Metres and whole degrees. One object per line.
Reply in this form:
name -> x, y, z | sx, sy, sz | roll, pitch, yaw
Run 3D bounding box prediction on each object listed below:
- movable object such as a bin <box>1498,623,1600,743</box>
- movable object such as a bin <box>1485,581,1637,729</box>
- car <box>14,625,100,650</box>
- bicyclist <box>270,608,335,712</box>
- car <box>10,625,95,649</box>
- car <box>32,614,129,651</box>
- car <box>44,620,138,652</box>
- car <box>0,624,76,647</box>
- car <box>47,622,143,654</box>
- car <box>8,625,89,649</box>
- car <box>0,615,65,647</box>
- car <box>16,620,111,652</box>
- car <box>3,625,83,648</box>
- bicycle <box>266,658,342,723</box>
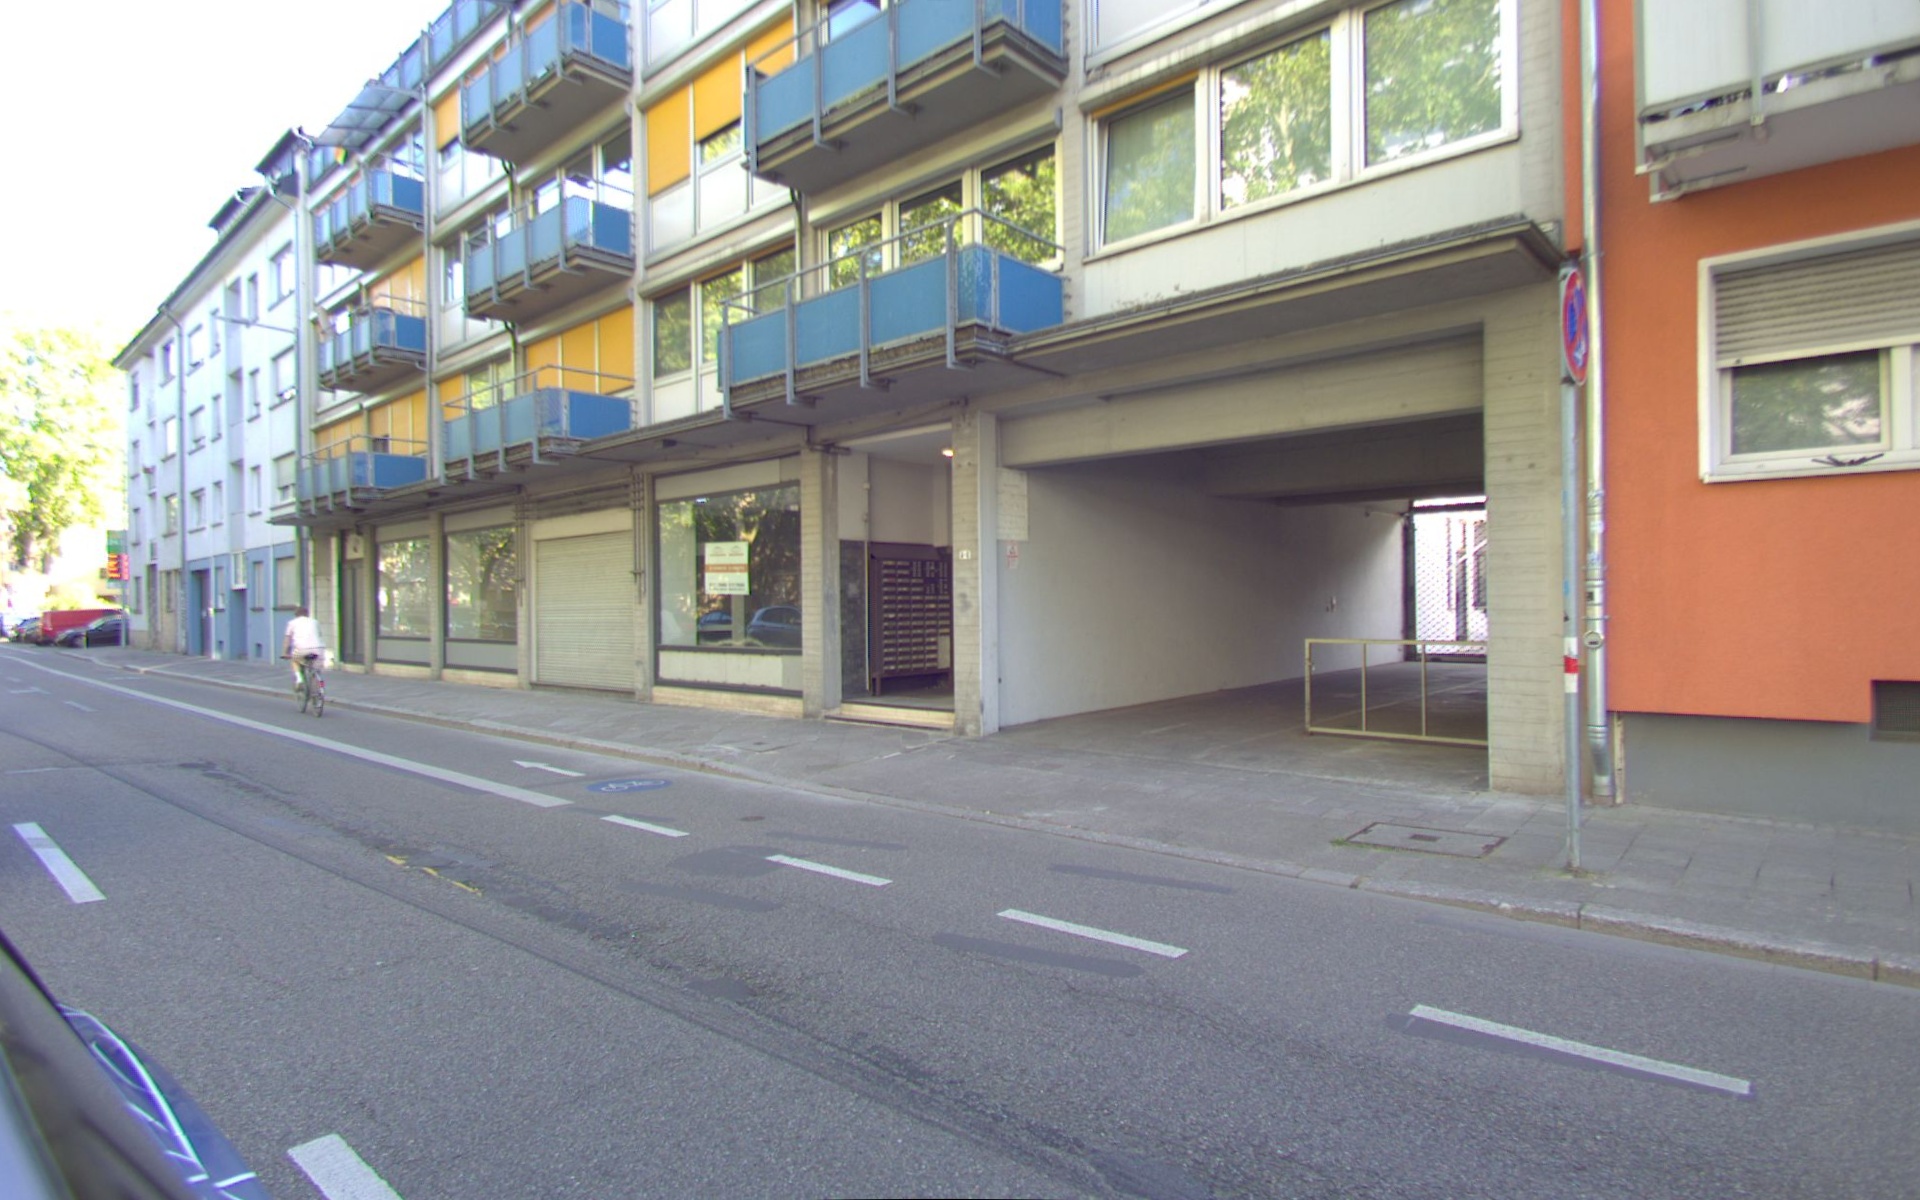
movable object such as a bin -> 5.546, 0.753, 9.536 | 0.703, 1.055, 0.563 | -1, 0, 44
movable object such as a bin -> 6.489, 0.546, 10.928 | 1.143, 1.476, 1.246 | -1, 0, 44
car -> -55.954, 2.297, 62.737 | 1.595, 1.385, 3.854 | -1, 0, 43
bicyclist -> -10.326, 0.914, 15.882 | 0.806, 1.570, 0.641 | -1, 0, 42
car -> -57.444, 2.320, 64.104 | 1.595, 1.385, 3.854 | -1, 0, 43
car -> -47.949, 1.745, 55.228 | 1.749, 1.921, 3.853 | -2, -1, 43
car -> -45.788, 1.874, 53.371 | 1.602, 1.521, 3.619 | -1, 0, 43
car -> -63.201, 2.408, 69.410 | 1.539, 1.451, 3.732 | -1, 0, 43
car -> -44.100, 1.917, 51.644 | 1.534, 1.420, 3.550 | -2, 0, 43
car -> -59.425, 2.386, 66.021 | 1.526, 1.343, 3.854 | -1, 0, 43
car -> -66.649, 2.197, 72.304 | 1.725, 2.193, 3.854 | -1, 0, 43
car -> -50.266, 1.970, 56.811 | 1.604, 1.598, 3.854 | -1, 0, 43
car -> -61.203, 2.414, 67.615 | 1.526, 1.343, 3.854 | -1, 0, 43
bicycle -> -10.305, 1.392, 15.870 | 1.867, 0.898, 0.542 | -1, 0, 42
